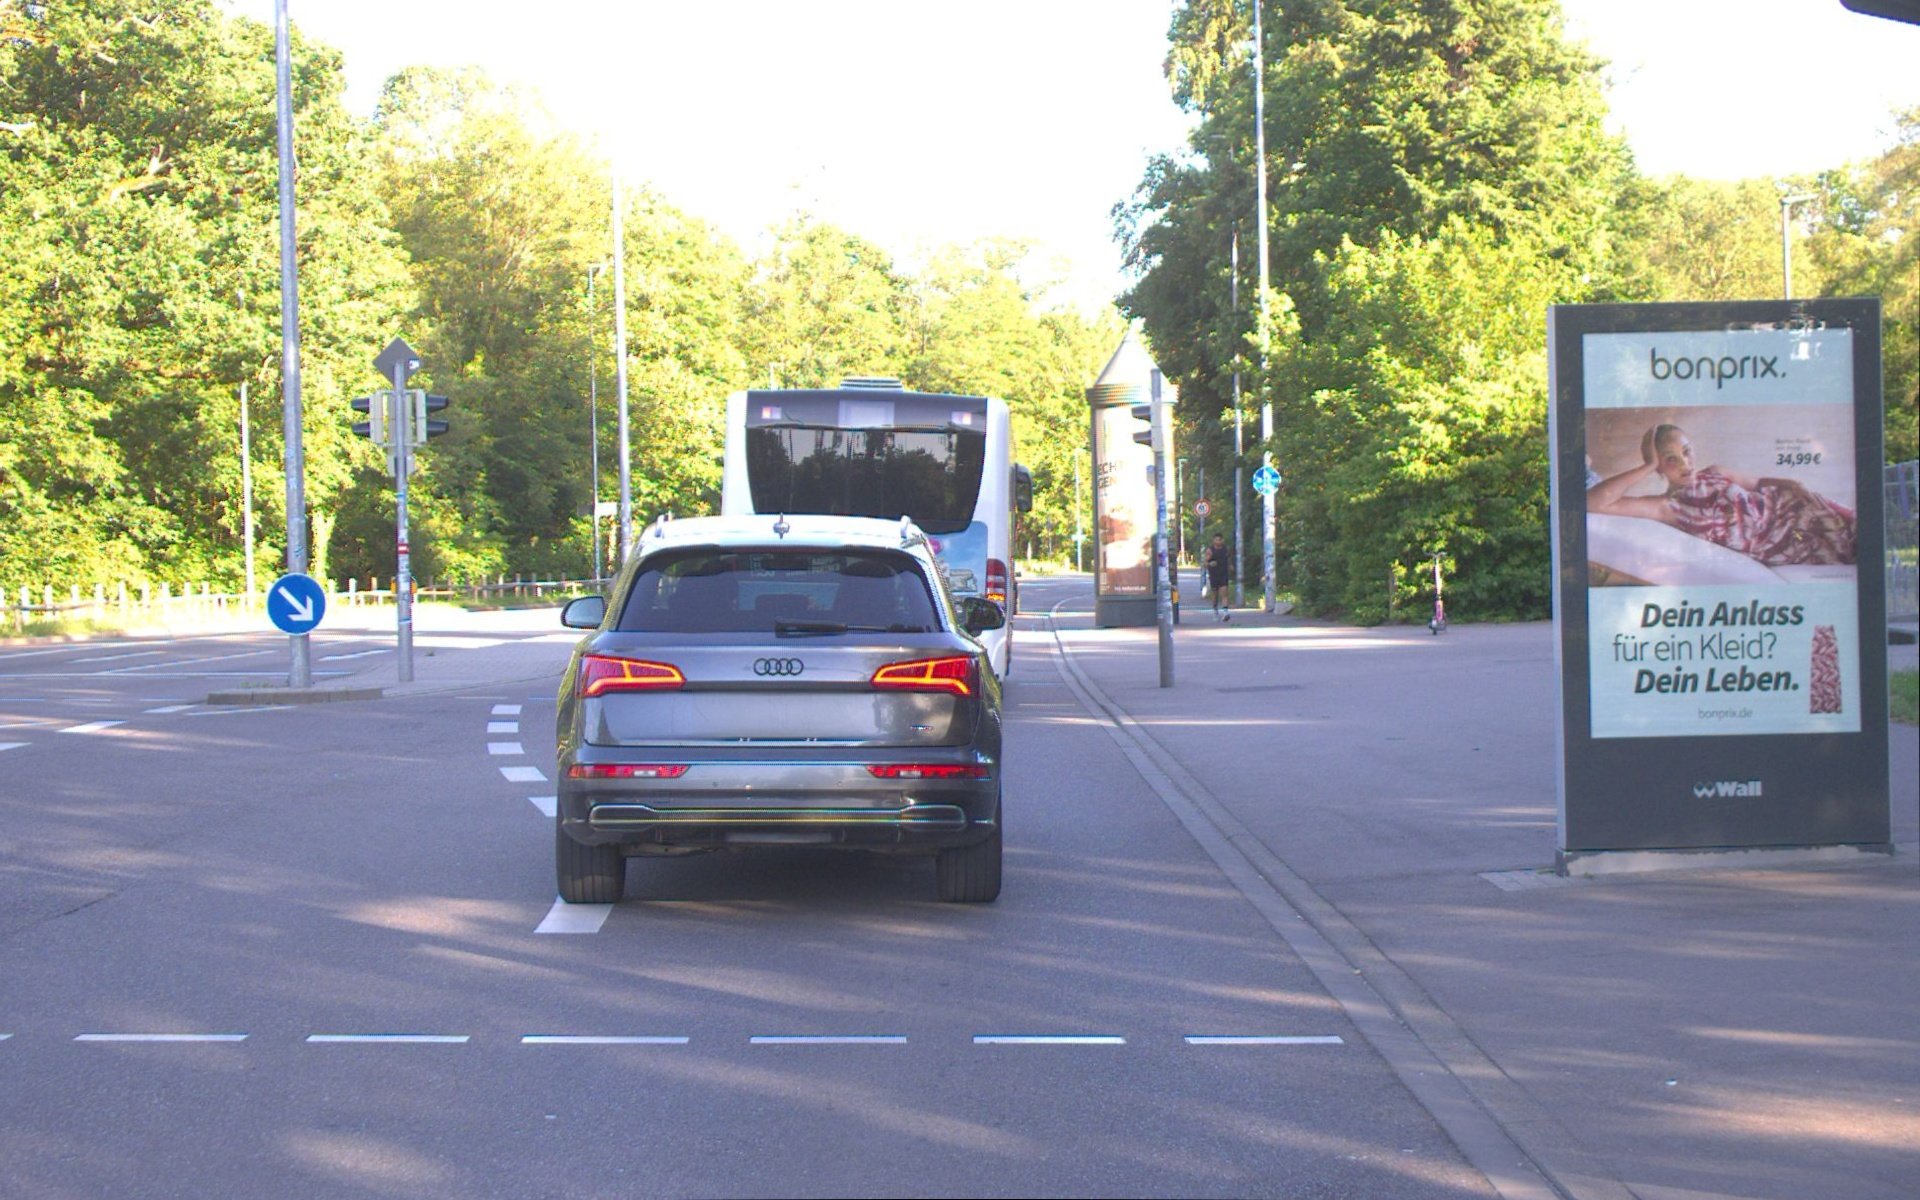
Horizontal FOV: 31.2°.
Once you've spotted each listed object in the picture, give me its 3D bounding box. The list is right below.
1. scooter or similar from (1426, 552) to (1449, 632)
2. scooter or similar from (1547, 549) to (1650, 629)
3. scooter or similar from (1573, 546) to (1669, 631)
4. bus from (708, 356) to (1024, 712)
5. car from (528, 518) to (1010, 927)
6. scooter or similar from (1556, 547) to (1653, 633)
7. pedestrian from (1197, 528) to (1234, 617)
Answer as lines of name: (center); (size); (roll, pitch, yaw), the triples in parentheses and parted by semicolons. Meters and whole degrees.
scooter or similar: (7.155, -0.126, 51.504); (0.281, 1.167, 1.408); (-2, 1, 9)
scooter or similar: (9.588, -0.164, 51.614); (1.441, 1.163, 0.393); (-2, -1, 29)
scooter or similar: (9.365, -0.164, 48.715); (1.246, 1.163, 0.393); (-2, -1, 25)
bus: (-0.895, -0.631, 35.540); (2.689, 3.032, 12.042); (1, 1, -1)
car: (-0.790, 0.451, 15.917); (1.893, 1.600, 4.545); (1, 1, -1)
scooter or similar: (9.030, -0.138, 48.190); (1.266, 1.143, 0.394); (-3, -1, 8)
pedestrian: (4.871, -0.529, 65.525); (0.626, 1.682, 0.882); (1, 0, 9)
